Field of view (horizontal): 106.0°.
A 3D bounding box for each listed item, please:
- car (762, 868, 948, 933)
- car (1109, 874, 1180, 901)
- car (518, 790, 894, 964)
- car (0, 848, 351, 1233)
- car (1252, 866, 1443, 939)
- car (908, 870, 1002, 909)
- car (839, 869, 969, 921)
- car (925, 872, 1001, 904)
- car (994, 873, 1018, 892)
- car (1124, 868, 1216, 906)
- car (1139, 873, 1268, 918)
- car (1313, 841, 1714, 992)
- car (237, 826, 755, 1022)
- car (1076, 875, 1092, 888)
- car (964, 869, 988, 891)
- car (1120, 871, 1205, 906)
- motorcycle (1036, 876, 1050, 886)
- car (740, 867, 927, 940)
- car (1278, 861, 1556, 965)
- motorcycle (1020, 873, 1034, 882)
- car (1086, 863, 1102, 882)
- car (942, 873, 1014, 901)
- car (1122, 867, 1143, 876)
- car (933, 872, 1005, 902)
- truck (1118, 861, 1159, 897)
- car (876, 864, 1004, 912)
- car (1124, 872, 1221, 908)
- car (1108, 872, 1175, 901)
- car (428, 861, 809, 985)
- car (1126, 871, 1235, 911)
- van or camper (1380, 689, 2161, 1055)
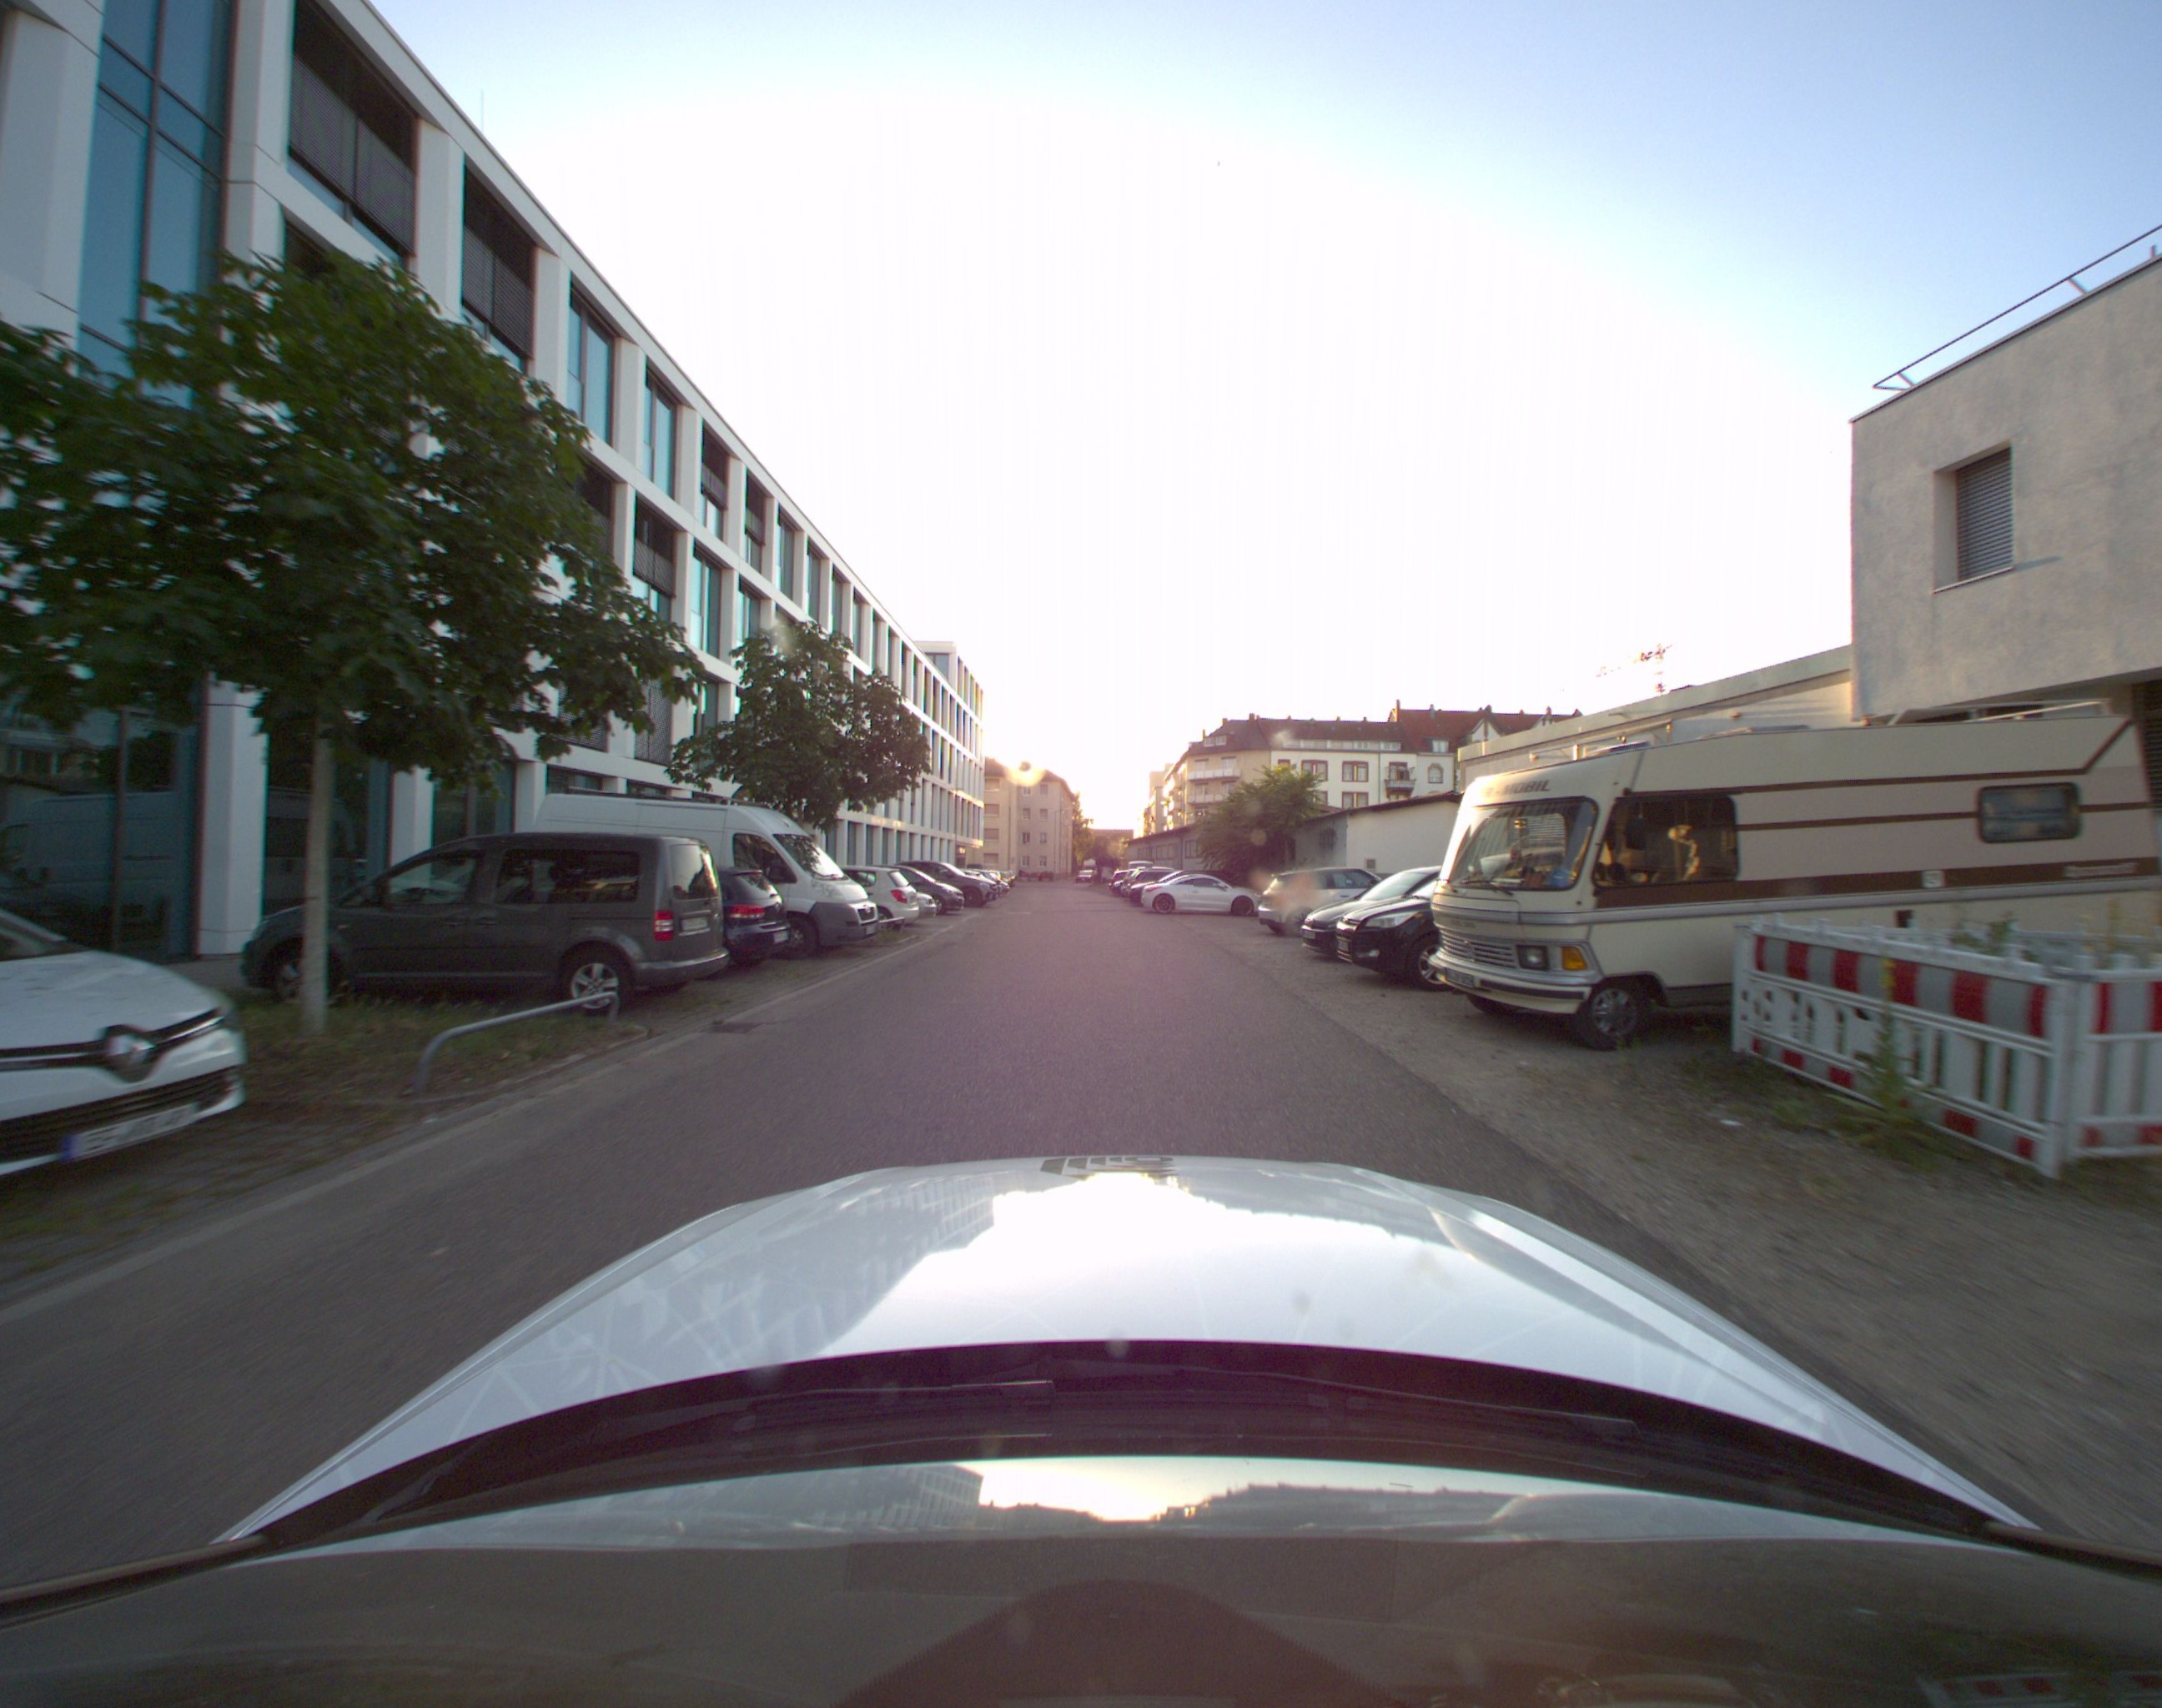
[{"bbox_3d":[-5.812,1.181,21.333,4.292,1.495,1.795,1,-1,1],"label":"car"},{"bbox_3d":[3.525,1.866,45.497,3.750,1.445,1.843,1,-2,-3],"label":"car"},{"bbox_3d":[-6.181,0.377,13.939,5.361,2.633,2.078,1,-1,1],"label":"car"},{"bbox_3d":[-6.334,0.710,3.828,4.095,1.518,1.780,1,-1,-1],"label":"car"},{"bbox_3d":[5.862,1.042,18.192,3.697,1.479,1.710,-1,-1,-3],"label":"car"},{"bbox_3d":[-5.369,1.509,34.929,3.650,1.511,1.698,1,-1,3],"label":"car"},{"bbox_3d":[-5.610,1.282,26.159,3.771,1.522,1.692,1,-1,-2],"label":"car"},{"bbox_3d":[-6.126,1.756,42.560,3.642,1.511,1.687,1,-1,0],"label":"car"},{"bbox_3d":[-6.639,2.531,72.379,1.775,1.479,4.328,4,-1,-1],"label":"car"},{"bbox_3d":[4.125,1.533,38.135,3.977,1.619,1.824,1,-1,-5],"label":"car"},{"bbox_3d":[4.095,1.394,27.743,4.186,1.367,1.824,1,-1,2],"label":"car"},{"bbox_3d":[5.433,0.777,10.728,4.224,1.741,1.968,-1,-2,2],"label":"car"},{"bbox_3d":[-5.947,0.699,8.755,4.100,1.817,1.813,1,-1,-4],"label":"car"},{"bbox_3d":[0.361,3.340,99.005,1.839,1.473,4.077,0,-1,0],"label":"car"},{"bbox_3d":[-9.946,2.414,77.507,1.793,1.980,4.686,0,-1,-2],"label":"car"},{"bbox_3d":[4.022,1.679,40.487,3.974,1.609,1.937,1,-1,-3],"label":"car"},{"bbox_3d":[-4.537,3.200,96.946,0.682,1.160,2.046,0,-2,26],"label":"motorcycle"},{"bbox_3d":[-5.570,1.097,18.631,3.696,1.495,1.707,1,-1,0],"label":"car"},{"bbox_3d":[5.565,0.941,13.746,3.998,1.564,1.708,-1,-1,-6],"label":"car"},{"bbox_3d":[-6.234,2.692,94.435,0.717,1.079,2.092,0,-2,23],"label":"motorcycle"},{"bbox_3d":[2.307,3.325,144.446,2.609,3.269,7.700,-1,-1,2],"label":"car"},{"bbox_3d":[-5.969,1.911,47.438,3.912,1.511,1.688,1,-1,1],"label":"car"},{"bbox_3d":[9.761,3.354,154.285,3.973,1.530,1.659,-1,-1,1],"label":"car"},{"bbox_3d":[-6.104,1.795,44.782,3.642,1.511,1.687,1,-1,0],"label":"car"},{"bbox_3d":[3.622,1.581,52.132,2.092,2.201,5.706,0,-1,-2],"label":"truck"},{"bbox_3d":[-5.514,1.320,32.338,4.598,1.706,2.006,1,-1,3],"label":"car"},{"bbox_3d":[3.927,1.557,35.396,3.972,1.446,1.826,1,-2,-1],"label":"car"},{"bbox_3d":[3.521,1.900,47.937,3.747,1.536,1.891,1,0,0],"label":"car"},{"bbox_3d":[-6.098,0.895,11.171,4.100,1.499,1.772,1,-1,-4],"label":"car"},{"bbox_3d":[3.986,1.496,33.019,4.189,1.503,1.889,1,-2,0],"label":"car"},{"bbox_3d":[6.230,0.132,7.815,5.767,2.864,2.484,-1,-2,-3],"label":"van or camper"}]
